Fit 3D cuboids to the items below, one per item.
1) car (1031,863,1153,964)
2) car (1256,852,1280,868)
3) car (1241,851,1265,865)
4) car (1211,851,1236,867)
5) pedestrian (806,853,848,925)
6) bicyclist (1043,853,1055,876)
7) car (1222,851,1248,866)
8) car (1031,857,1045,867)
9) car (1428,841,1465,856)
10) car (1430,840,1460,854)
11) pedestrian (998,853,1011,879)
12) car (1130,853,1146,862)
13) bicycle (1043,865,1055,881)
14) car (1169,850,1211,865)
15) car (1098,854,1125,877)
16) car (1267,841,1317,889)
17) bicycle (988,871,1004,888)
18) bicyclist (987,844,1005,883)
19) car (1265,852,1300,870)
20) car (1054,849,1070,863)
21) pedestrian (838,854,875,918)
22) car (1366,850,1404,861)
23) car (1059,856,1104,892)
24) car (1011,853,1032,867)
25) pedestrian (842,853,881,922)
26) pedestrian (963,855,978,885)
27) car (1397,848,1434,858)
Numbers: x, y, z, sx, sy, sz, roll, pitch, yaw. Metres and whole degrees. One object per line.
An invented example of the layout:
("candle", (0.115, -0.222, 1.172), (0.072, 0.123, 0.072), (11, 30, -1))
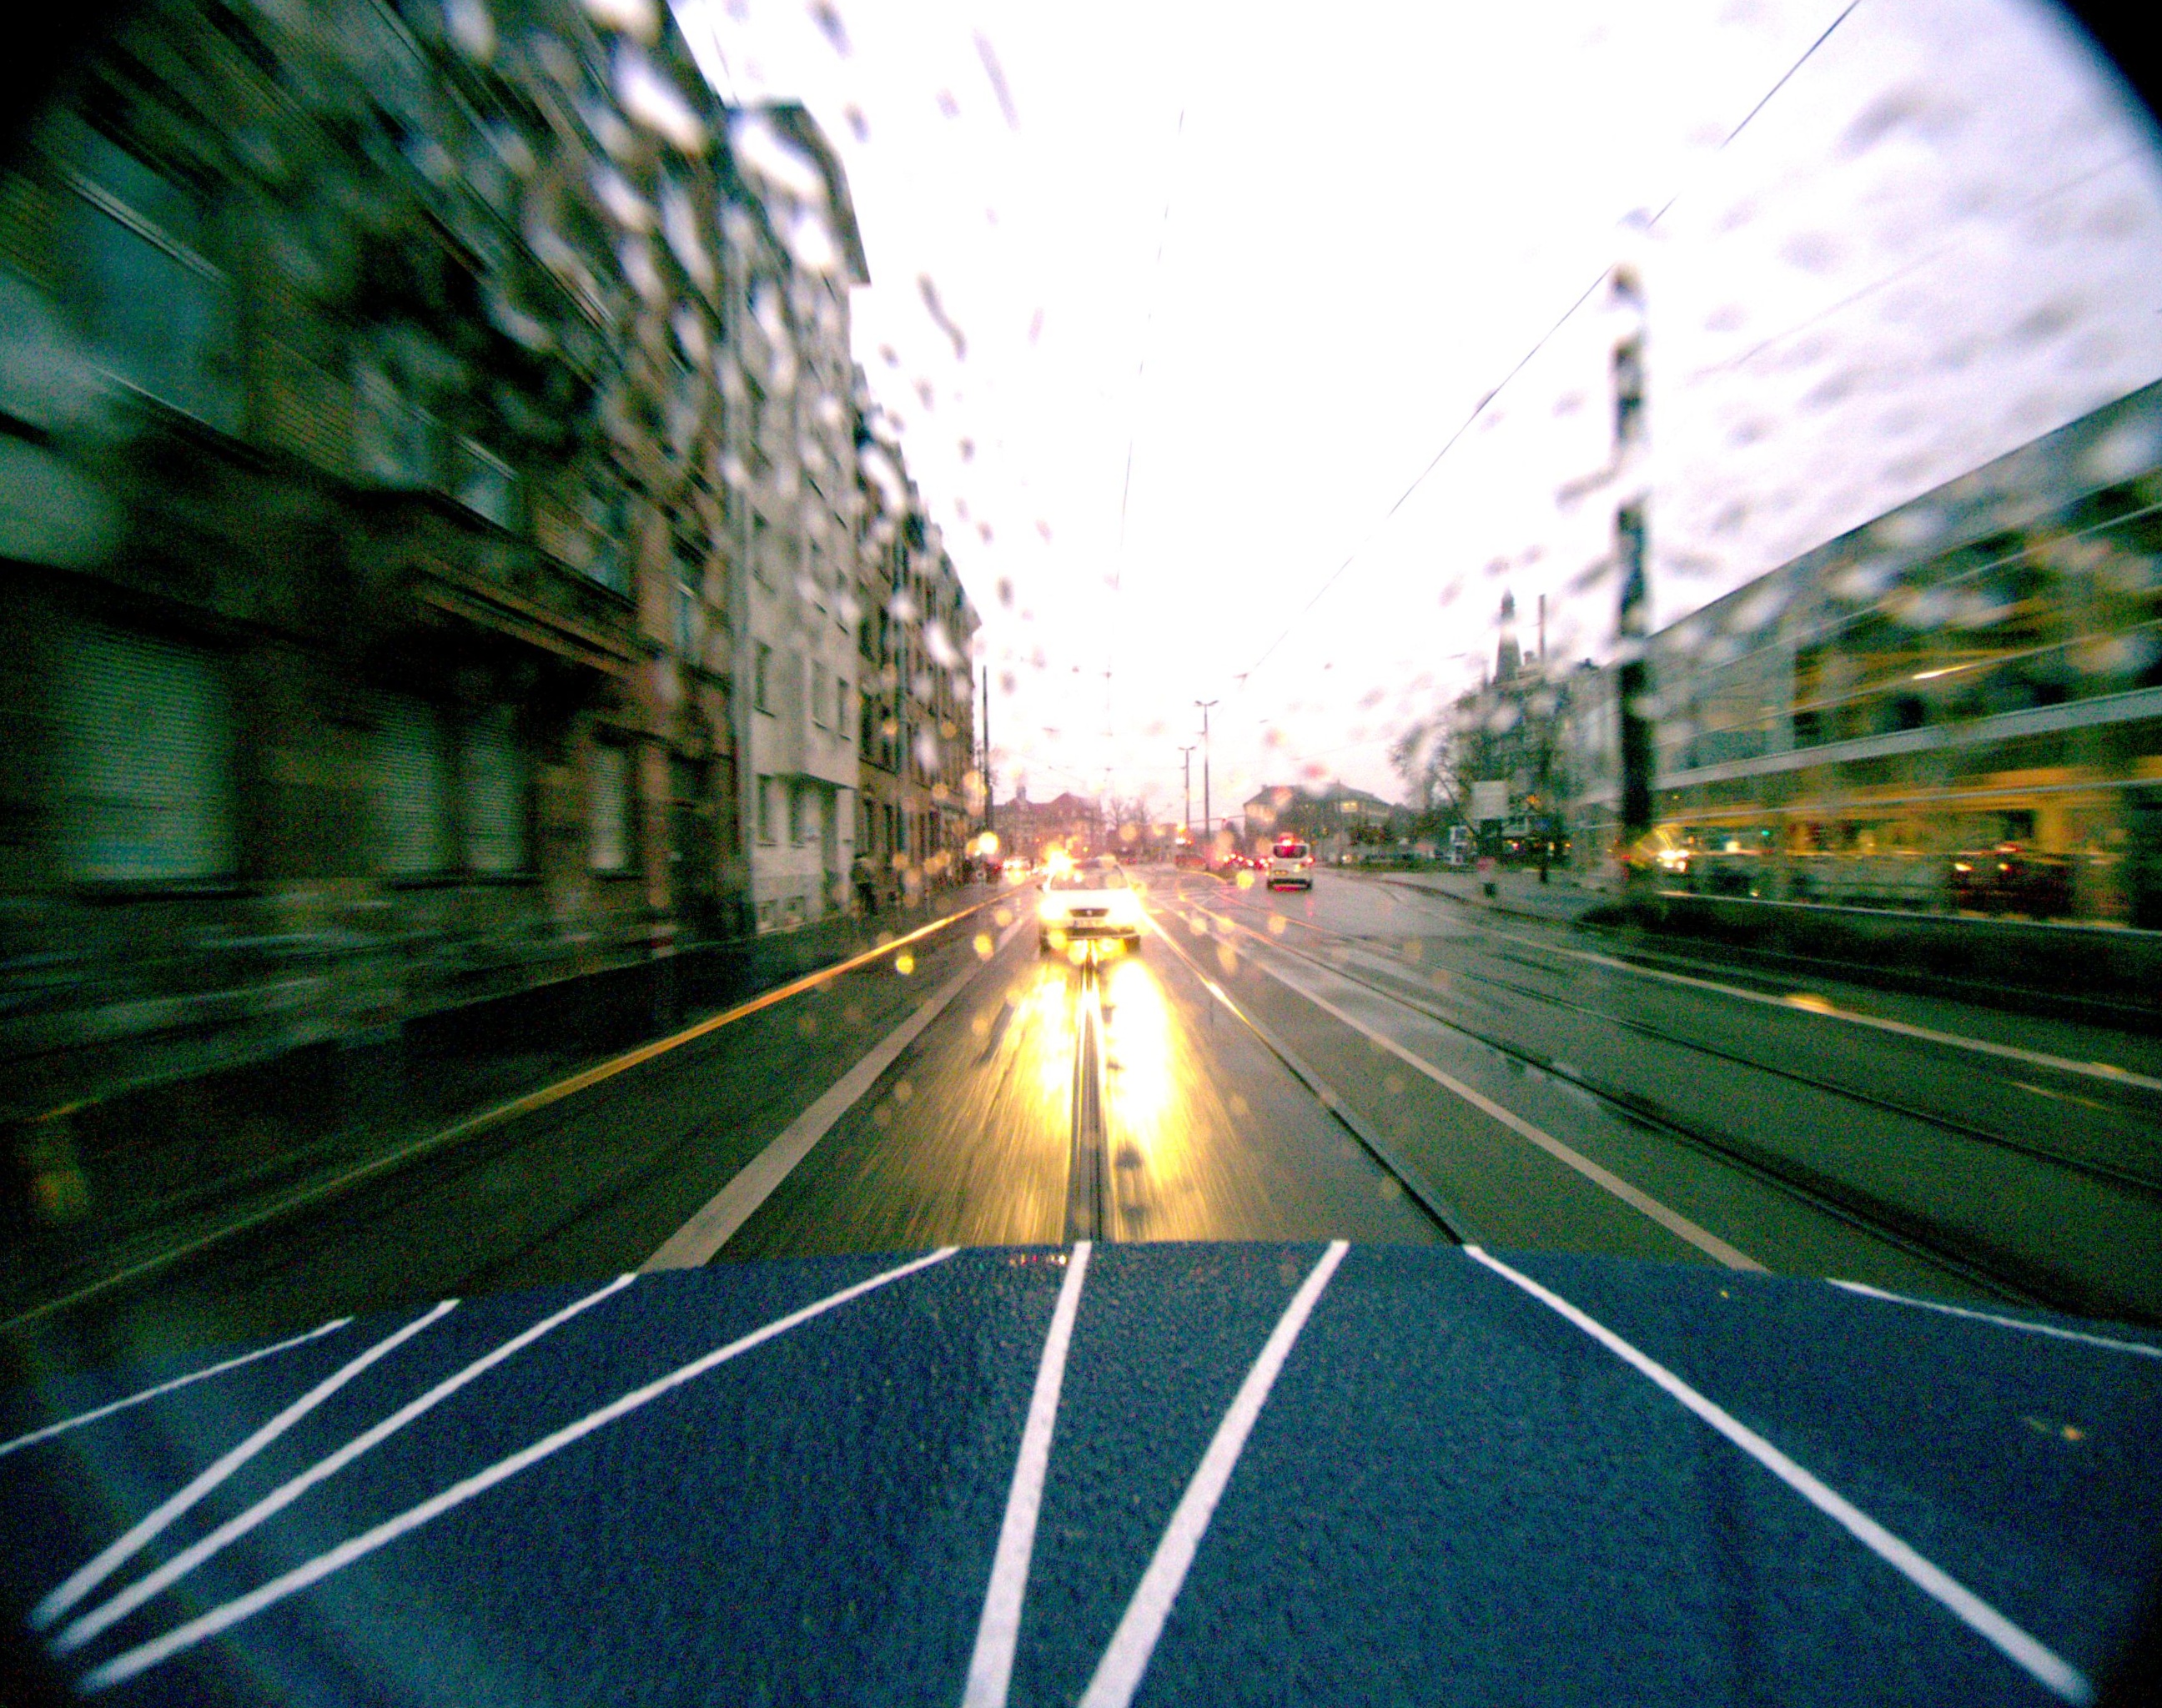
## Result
("car", (0.260, 0.917, 13.422), (1.797, 1.415, 4.000), (-1, 0, 3))
("car", (17.809, 0.547, 72.296), (1.604, 1.410, 3.472), (-1, 0, 4))
("car", (18.051, 0.386, 80.006), (1.728, 1.350, 4.000), (-1, 0, 3))
("car", (14.624, 0.496, 78.121), (1.904, 1.477, 4.000), (-1, 0, 3))
("pedestrian", (-6.309, 0.856, 18.888), (0.777, 1.734, 0.673), (-1, 1, 1))
("bicyclist", (-2.179, 0.686, 51.465), (0.727, 1.525, 0.785), (-1, 1, 0))
("car", (14.374, 0.414, 70.994), (1.876, 1.382, 4.001), (1, 0, 4))
("car", (-6.587, 1.232, 115.531), (1.829, 1.499, 3.801), (-2, 0, -8))
("car", (50.376, -0.724, 104.754), (2.003, 2.002, 3.990), (-2, 1, -36))
("car", (56.591, -1.032, 118.120), (3.990, 2.002, 2.003), (-2, 1, 27))
("pedestrian", (-5.333, 0.843, 52.867), (0.753, 1.814, 0.711), (-1, 1, 4))
("car", (10.694, 0.706, 142.220), (1.996, 1.543, 4.005), (-2, 1, 18))
("bicycle", (-2.165, 1.281, 51.474), (0.725, 0.985, 2.212), (-1, 0, 0))
("car", (15.510, 0.460, 107.787), (5.540, 2.002, 2.003), (-2, 1, 21))
("car", (2.176, 0.787, 55.721), (1.824, 1.565, 4.000), (-1, 0, 0))
("car", (9.552, 0.443, 34.686), (1.996, 2.002, 4.689), (-2, 1, 14))
("bicycle", (-4.201, 1.247, 37.533), (0.609, 0.757, 1.860), (-1, 1, -1))
("bicyclist", (-4.204, 0.456, 37.532), (0.747, 1.869, 1.111), (-1, 1, -1))
("car", (17.279, 0.600, 65.295), (1.998, 1.413, 4.588), (-1, 0, 4))
("car", (-2.709, 0.282, 107.935), (2.018, 1.809, 3.688), (-2, 1, 2))
("pedestrian", (-6.158, 0.865, 20.902), (0.777, 1.734, 0.673), (-1, 1, 1))
("car", (38.166, 0.193, 95.415), (2.003, 1.302, 3.990), (-2, 1, -36))
("car", (0.069, 0.855, 34.020), (1.797, 1.415, 4.000), (-1, 0, 3))
("car", (-8.384, 0.871, 107.776), (1.997, 1.827, 4.873), (-1, 0, 6))
("pedestrian", (-5.696, 0.858, 19.750), (0.777, 1.734, 0.673), (-1, 1, 1))
("pedestrian", (-5.722, 0.826, 39.445), (0.633, 1.539, 0.710), (-1, 1, 0))
("car", (44.097, -0.115, 100.289), (2.003, 1.302, 3.990), (-2, 1, -36))
